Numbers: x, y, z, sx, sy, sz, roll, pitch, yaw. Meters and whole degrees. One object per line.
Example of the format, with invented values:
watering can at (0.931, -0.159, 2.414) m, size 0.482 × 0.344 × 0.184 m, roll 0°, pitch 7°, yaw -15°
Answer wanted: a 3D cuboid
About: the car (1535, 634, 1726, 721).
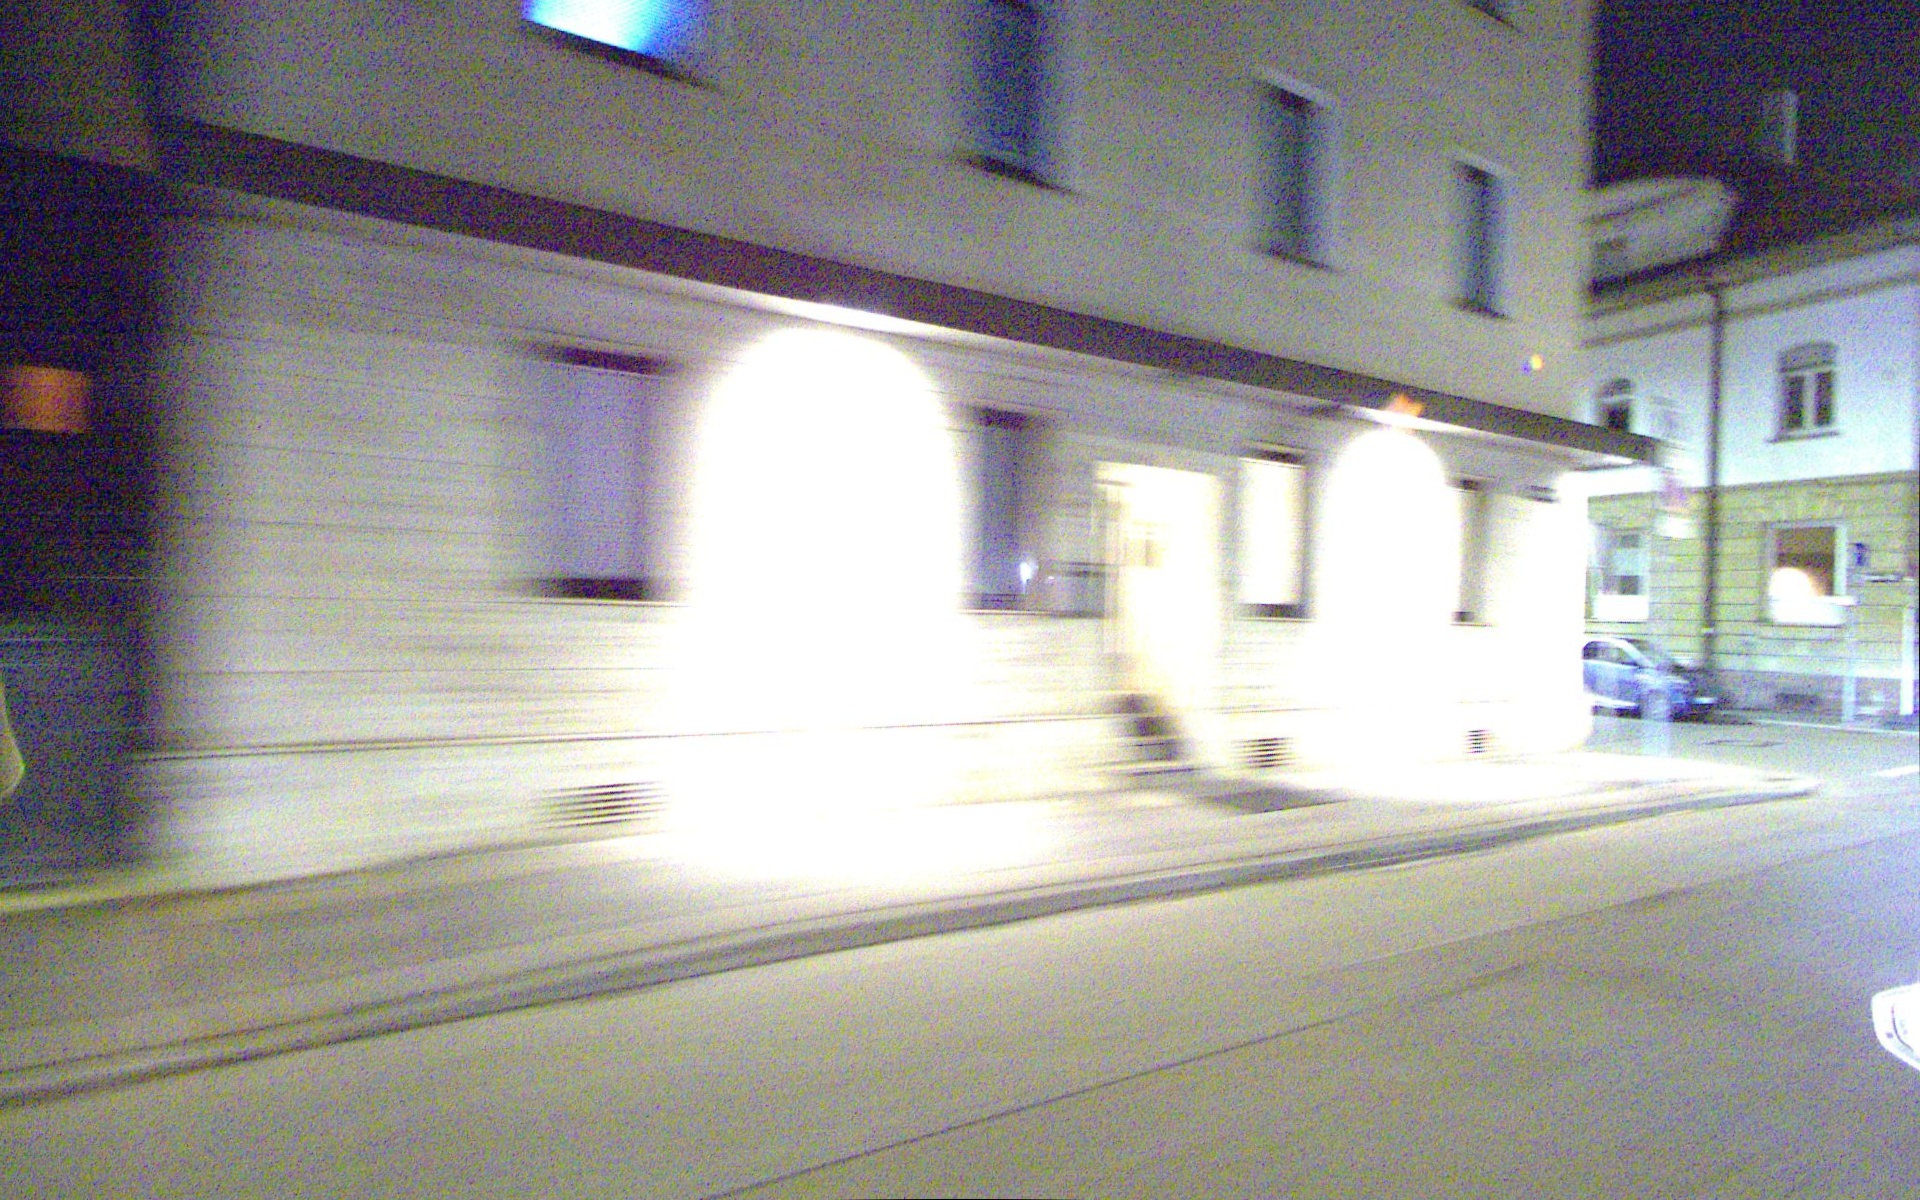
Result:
car at (13.166, 1.474, 19.849) m, size 1.471 × 1.533 × 2.797 m, roll 2°, pitch -1°, yaw -29°
